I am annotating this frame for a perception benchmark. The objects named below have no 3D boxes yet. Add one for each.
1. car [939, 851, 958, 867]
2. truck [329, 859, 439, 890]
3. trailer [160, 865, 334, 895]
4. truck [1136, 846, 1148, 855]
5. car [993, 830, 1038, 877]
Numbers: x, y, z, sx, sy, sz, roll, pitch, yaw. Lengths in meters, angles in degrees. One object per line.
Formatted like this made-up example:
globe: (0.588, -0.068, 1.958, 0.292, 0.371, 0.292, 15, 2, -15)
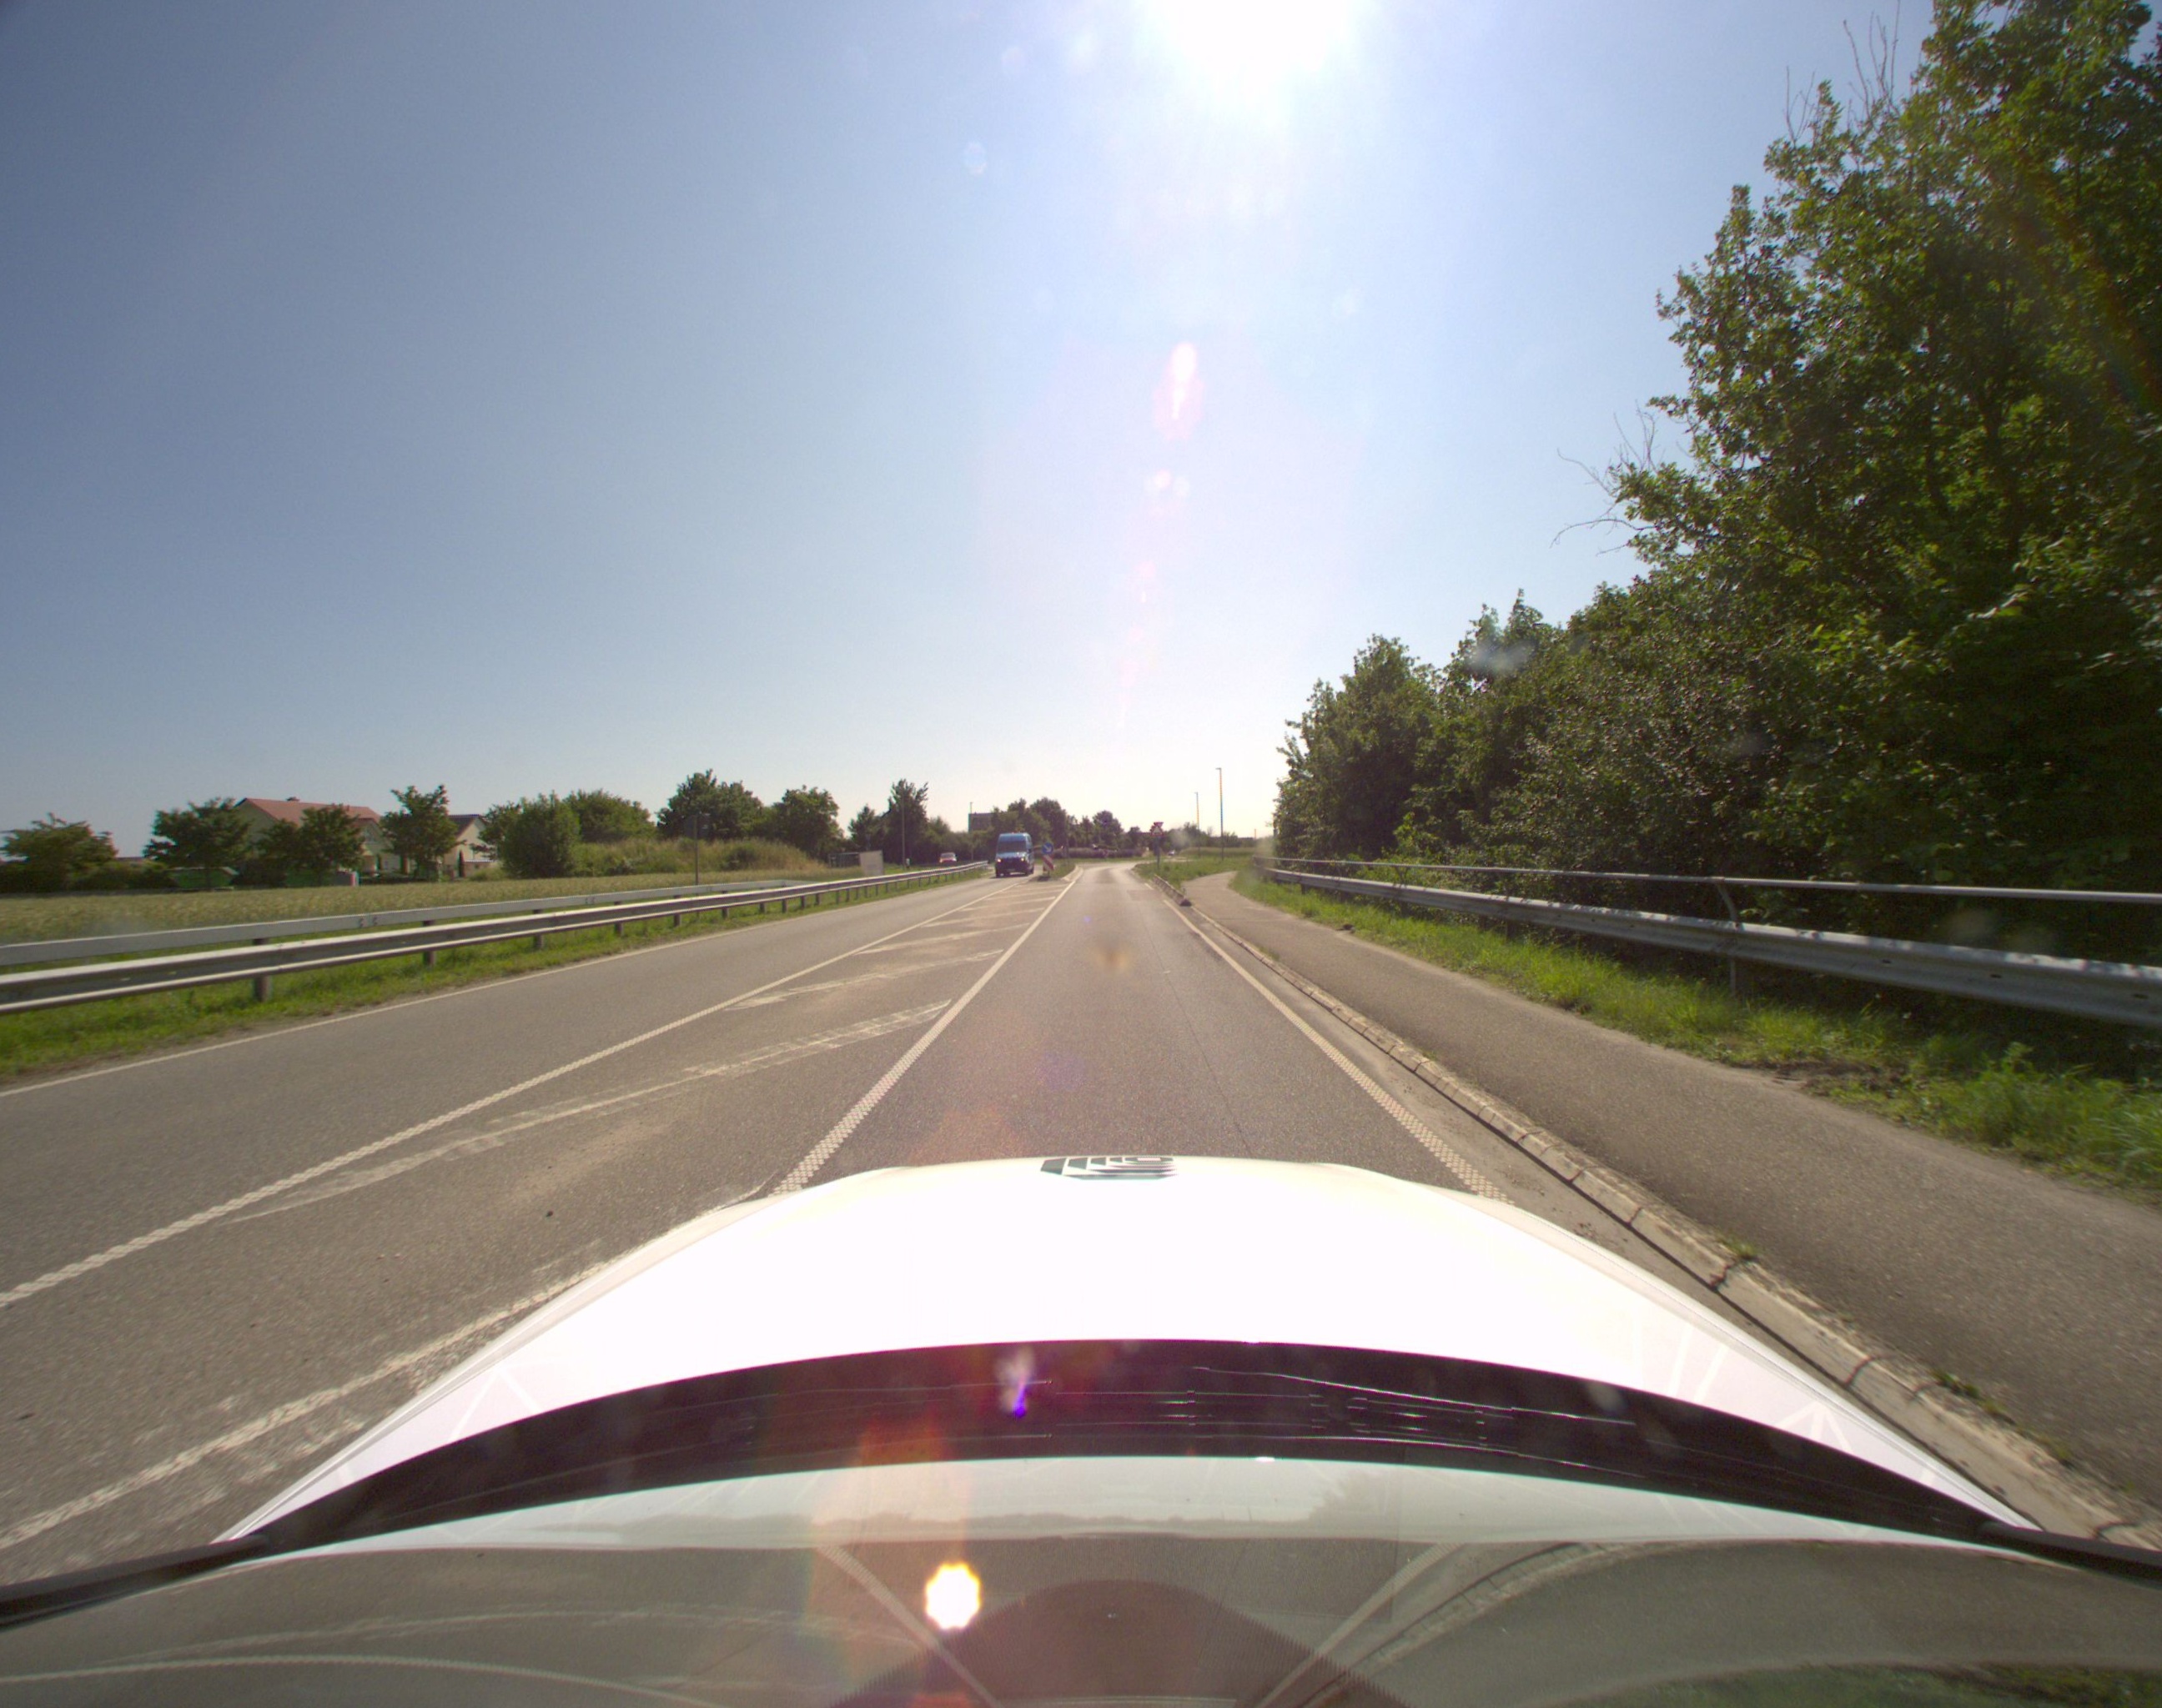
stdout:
car: (-13.355, 0.549, 82.030, 1.629, 1.491, 3.786, -3, 0, -12)
truck: (-66.178, 1.915, 77.591, 7.720, 2.649, 2.494, -1, 0, -35)
trailer: (-73.563, 2.233, 72.238, 10.535, 2.278, 1.978, -1, 0, -35)
truck: (14.153, -0.832, 188.611, 1.978, 2.013, 4.018, -1, 0, 16)
car: (-3.995, -0.037, 50.790, 1.987, 2.611, 7.290, -3, 0, 0)
